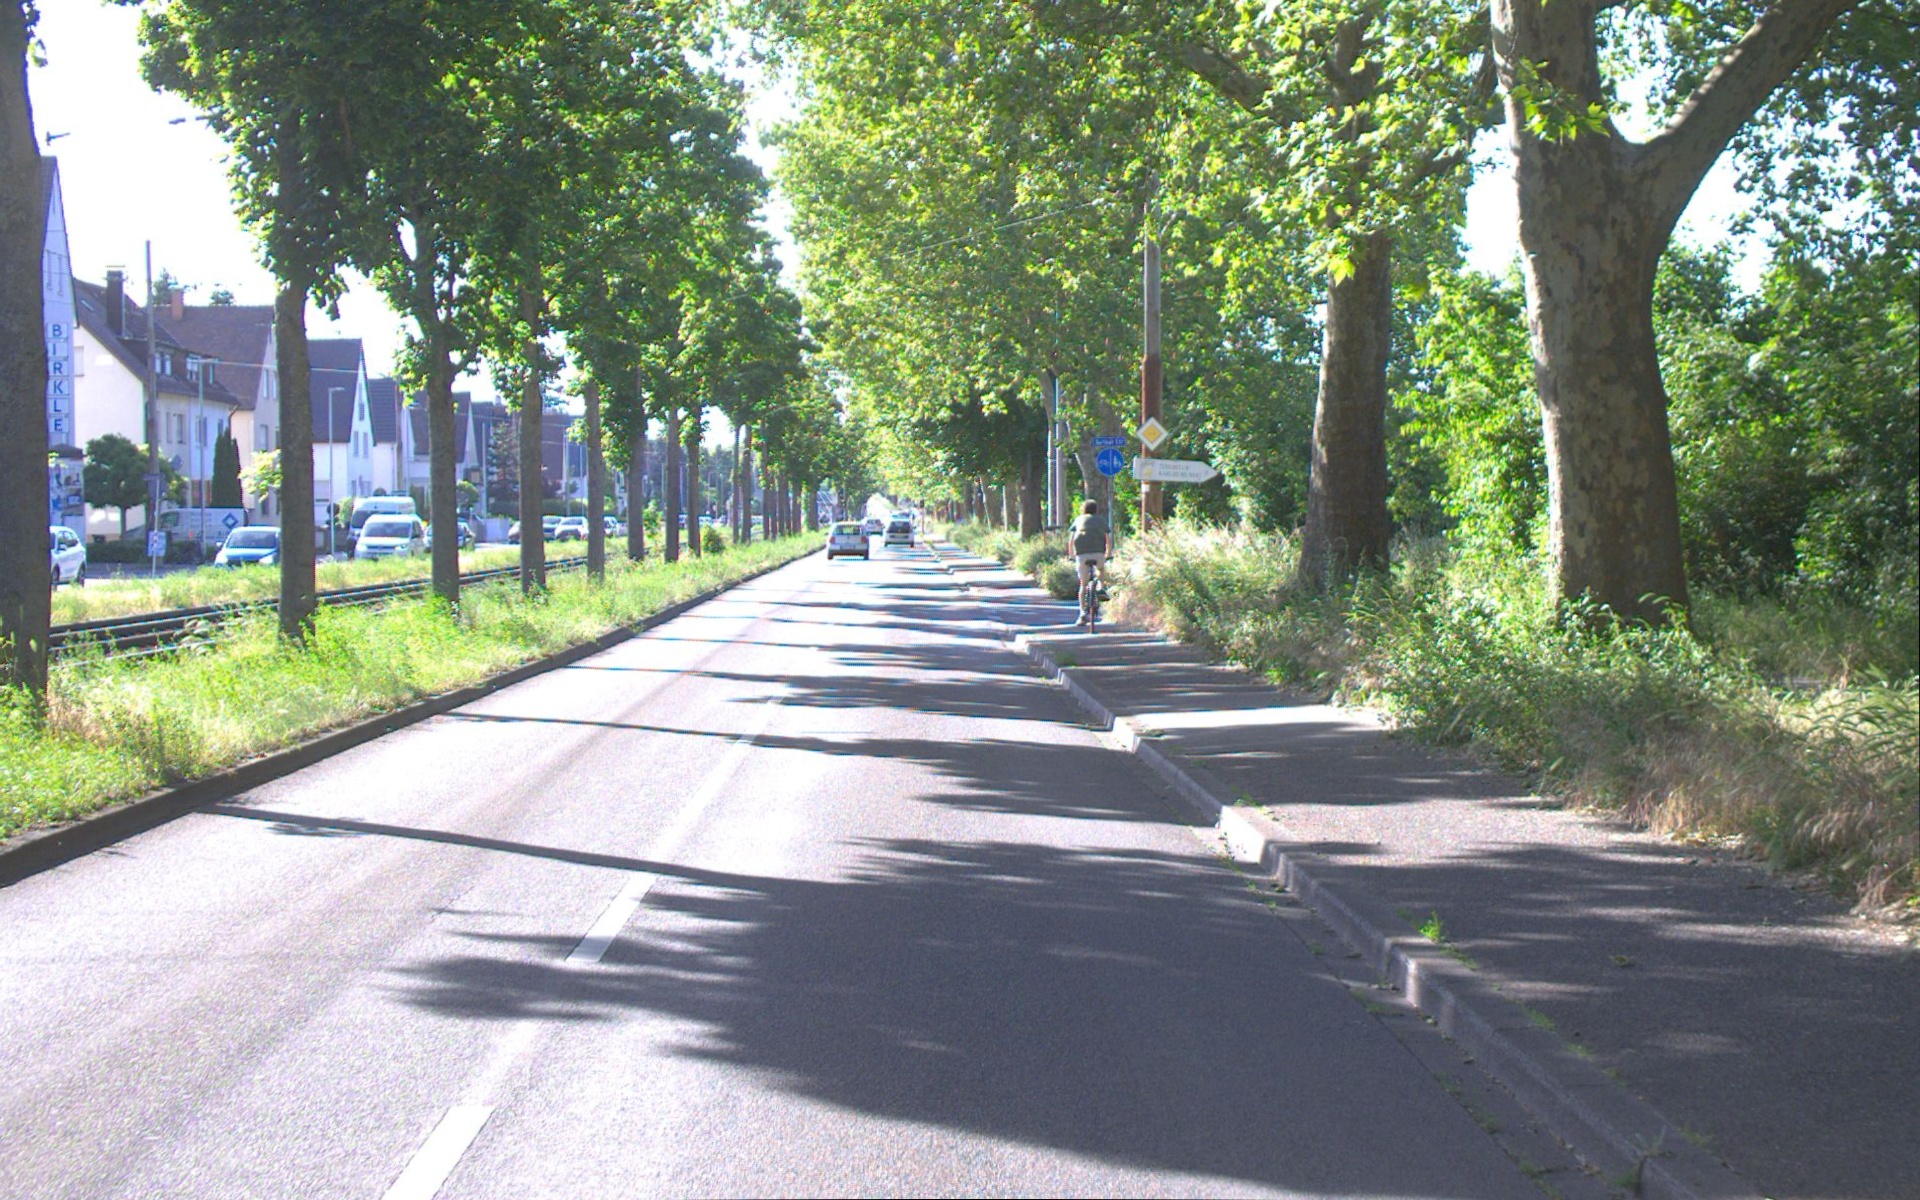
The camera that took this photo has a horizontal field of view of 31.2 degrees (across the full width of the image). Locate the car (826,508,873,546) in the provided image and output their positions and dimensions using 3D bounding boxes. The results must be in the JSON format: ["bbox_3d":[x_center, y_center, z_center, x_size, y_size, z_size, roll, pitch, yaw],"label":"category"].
[{"bbox_3d":[-4.244,-2.829,132.512,1.738,1.396,3.277,1,1,-1],"label":"car"}]

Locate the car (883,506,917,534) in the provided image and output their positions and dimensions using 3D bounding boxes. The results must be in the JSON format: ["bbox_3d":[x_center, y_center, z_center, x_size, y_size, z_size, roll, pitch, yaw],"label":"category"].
[{"bbox_3d":[-3.280,-4.393,189.009,1.761,1.508,3.277,1,1,0],"label":"car"}]

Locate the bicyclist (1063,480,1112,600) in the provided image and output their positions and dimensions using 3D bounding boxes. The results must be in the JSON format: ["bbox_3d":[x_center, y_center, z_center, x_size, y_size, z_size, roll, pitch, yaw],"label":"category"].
[{"bbox_3d":[1.755,-0.828,47.318,0.613,1.623,0.909,0,2,-1],"label":"bicyclist"}]

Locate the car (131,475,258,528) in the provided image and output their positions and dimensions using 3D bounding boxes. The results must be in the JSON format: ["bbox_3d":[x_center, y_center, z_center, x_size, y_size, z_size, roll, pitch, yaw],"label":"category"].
[{"bbox_3d":[-28.815,-3.710,129.570,4.616,1.939,2.001,1,1,-11],"label":"car"}]

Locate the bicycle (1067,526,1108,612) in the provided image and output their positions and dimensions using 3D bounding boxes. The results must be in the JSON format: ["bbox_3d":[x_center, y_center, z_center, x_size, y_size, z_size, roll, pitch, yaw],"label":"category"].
[{"bbox_3d":[1.752,-0.443,47.400,0.440,1.149,1.823,0,2,-1],"label":"bicycle"}]

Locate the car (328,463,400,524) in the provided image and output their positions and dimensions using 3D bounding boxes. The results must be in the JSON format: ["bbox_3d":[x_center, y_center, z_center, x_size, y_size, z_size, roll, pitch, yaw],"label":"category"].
[{"bbox_3d":[-25.118,-4.475,145.090,1.993,2.451,6.675,1,1,-2],"label":"car"}]

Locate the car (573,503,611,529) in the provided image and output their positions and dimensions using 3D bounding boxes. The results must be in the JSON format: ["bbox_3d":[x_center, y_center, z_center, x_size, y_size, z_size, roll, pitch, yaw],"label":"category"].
[{"bbox_3d":[-20.182,-4.603,188.731,1.676,1.405,4.001,0,2,-1],"label":"car"}]

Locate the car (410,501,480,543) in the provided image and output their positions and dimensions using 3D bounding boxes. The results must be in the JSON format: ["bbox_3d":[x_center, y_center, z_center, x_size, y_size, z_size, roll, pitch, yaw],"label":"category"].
[{"bbox_3d":[-18.976,-2.881,126.738,1.993,1.526,3.751,0,2,0],"label":"car"}]

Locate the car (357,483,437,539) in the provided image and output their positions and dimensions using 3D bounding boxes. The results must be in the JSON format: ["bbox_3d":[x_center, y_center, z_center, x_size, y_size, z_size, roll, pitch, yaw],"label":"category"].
[{"bbox_3d":[-18.213,-2.867,111.394,1.810,1.738,4.982,1,1,-1],"label":"car"}]

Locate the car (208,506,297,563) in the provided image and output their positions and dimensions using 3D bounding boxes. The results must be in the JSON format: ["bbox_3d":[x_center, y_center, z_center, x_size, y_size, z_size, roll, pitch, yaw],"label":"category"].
[{"bbox_3d":[-18.073,-1.685,87.969,1.557,1.390,3.821,1,1,-1],"label":"car"}]

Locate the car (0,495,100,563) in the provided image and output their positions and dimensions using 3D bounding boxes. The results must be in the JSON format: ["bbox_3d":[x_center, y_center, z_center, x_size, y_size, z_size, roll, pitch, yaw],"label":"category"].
[{"bbox_3d":[-22.756,-1.768,84.928,1.823,1.601,4.774,1,1,-1],"label":"car"}]
